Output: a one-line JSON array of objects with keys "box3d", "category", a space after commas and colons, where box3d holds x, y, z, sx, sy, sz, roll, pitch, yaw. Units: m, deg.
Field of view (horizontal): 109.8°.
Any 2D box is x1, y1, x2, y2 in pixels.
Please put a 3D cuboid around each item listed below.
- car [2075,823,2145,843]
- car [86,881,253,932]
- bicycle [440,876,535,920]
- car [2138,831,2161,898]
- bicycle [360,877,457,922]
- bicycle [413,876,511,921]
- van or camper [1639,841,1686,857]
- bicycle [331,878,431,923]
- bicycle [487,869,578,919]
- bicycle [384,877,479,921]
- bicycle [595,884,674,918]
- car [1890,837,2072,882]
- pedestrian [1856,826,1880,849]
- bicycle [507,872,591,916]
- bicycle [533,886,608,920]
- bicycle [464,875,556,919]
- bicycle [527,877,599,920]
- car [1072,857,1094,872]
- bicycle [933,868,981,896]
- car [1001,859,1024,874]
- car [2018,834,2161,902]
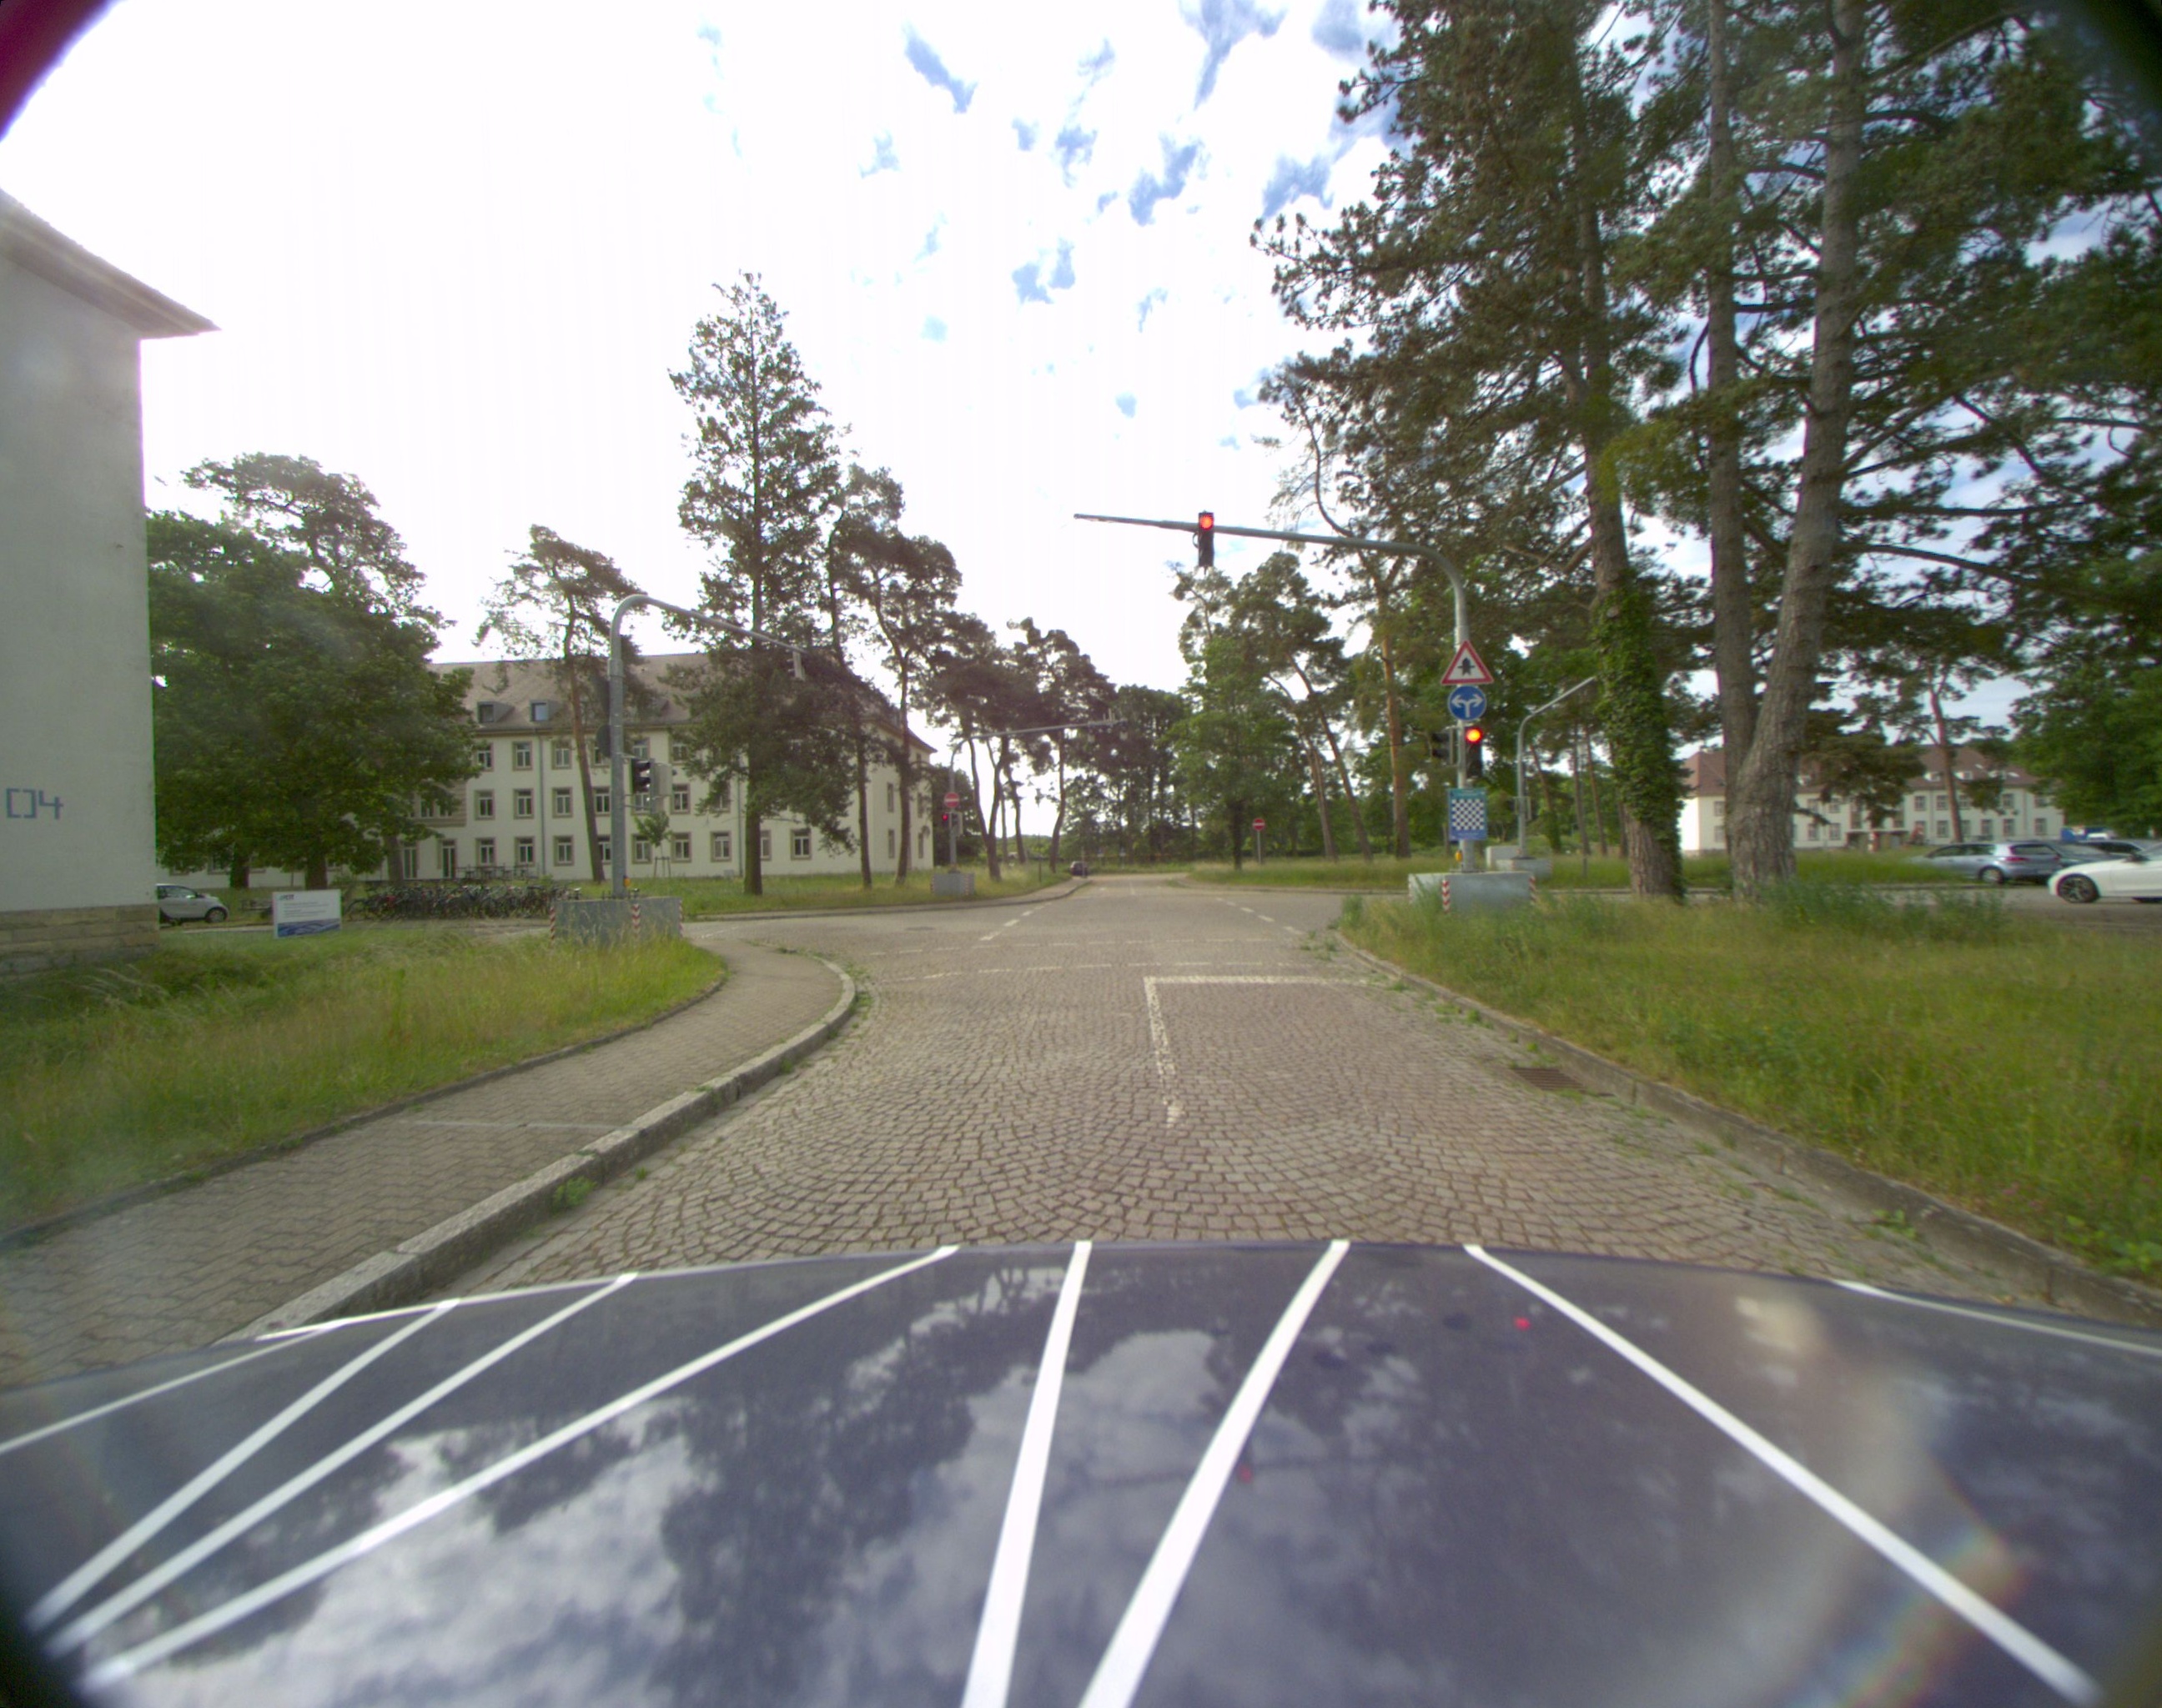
[{"box3d": [115.689, -2.356, 85.480, 4.830, 2.002, 2.168, -1, 0, 2], "category": "car"}, {"box3d": [-32.100, 1.808, 26.899, 1.936, 1.611, 3.236, -2, -1, 2], "category": "car"}, {"box3d": [-20.478, 1.483, 26.322, 0.950, 1.363, 2.812, -2, 0, 3], "category": "bicycle"}, {"box3d": [26.142, 0.167, 15.855, 1.846, 1.580, 4.489, -1, -2, 0], "category": "car"}, {"box3d": [-23.180, 1.542, 26.273, 0.950, 1.363, 2.577, -2, 0, 2], "category": "bicycle"}, {"box3d": [-21.371, 1.512, 26.339, 0.950, 1.363, 2.812, -2, 0, 3], "category": "bicycle"}, {"box3d": [87.202, -0.789, 114.032, 2.463, 2.293, 6.128, -1, 0, 2], "category": "van or camper"}, {"box3d": [-24.026, 1.567, 26.152, 0.950, 1.363, 2.577, -2, 0, 2], "category": "bicycle"}, {"box3d": [-19.007, 1.343, 26.443, 0.950, 1.574, 2.812, -2, 0, 3], "category": "bicycle"}, {"box3d": [-22.341, 1.514, 26.242, 0.950, 1.363, 2.577, -2, 0, 2], "category": "bicycle"}, {"box3d": [-14.272, 1.494, 24.339, 1.977, 0.990, 0.904, -2, 0, 2], "category": "bicycle"}, {"box3d": [31.278, 0.174, 26.608, 1.794, 1.410, 4.001, -1, 0, 5], "category": "car"}, {"box3d": [76.889, -1.619, 74.227, 1.055, 2.165, 1.185, -1, 1, 4], "category": "pedestrian"}, {"box3d": [-18.161, 1.335, 26.050, 0.873, 1.359, 2.628, -2, 0, 3], "category": "bicycle"}, {"box3d": [-16.363, 1.565, 24.374, 1.976, 0.990, 0.730, -2, 0, 8], "category": "bicycle"}, {"box3d": [-19.924, 1.472, 26.621, 0.950, 1.363, 2.812, -2, 0, 3], "category": "bicycle"}, {"box3d": [-17.559, 1.485, 25.828, 0.873, 1.299, 2.120, -2, 0, 3], "category": "bicycle"}, {"box3d": [0.212, 1.071, 80.630, 1.998, 1.524, 4.001, -1, 0, 5], "category": "car"}, {"box3d": [-5.095, 1.143, 31.380, 1.832, 1.057, 0.646, -2, 4, 0], "category": "bicycle"}, {"box3d": [-7.354, 1.302, 81.809, 1.771, 1.524, 3.696, -1, 0, 5], "category": "car"}, {"box3d": [23.537, 0.273, 15.898, 1.912, 1.430, 4.824, -1, -3, 2], "category": "car"}]
